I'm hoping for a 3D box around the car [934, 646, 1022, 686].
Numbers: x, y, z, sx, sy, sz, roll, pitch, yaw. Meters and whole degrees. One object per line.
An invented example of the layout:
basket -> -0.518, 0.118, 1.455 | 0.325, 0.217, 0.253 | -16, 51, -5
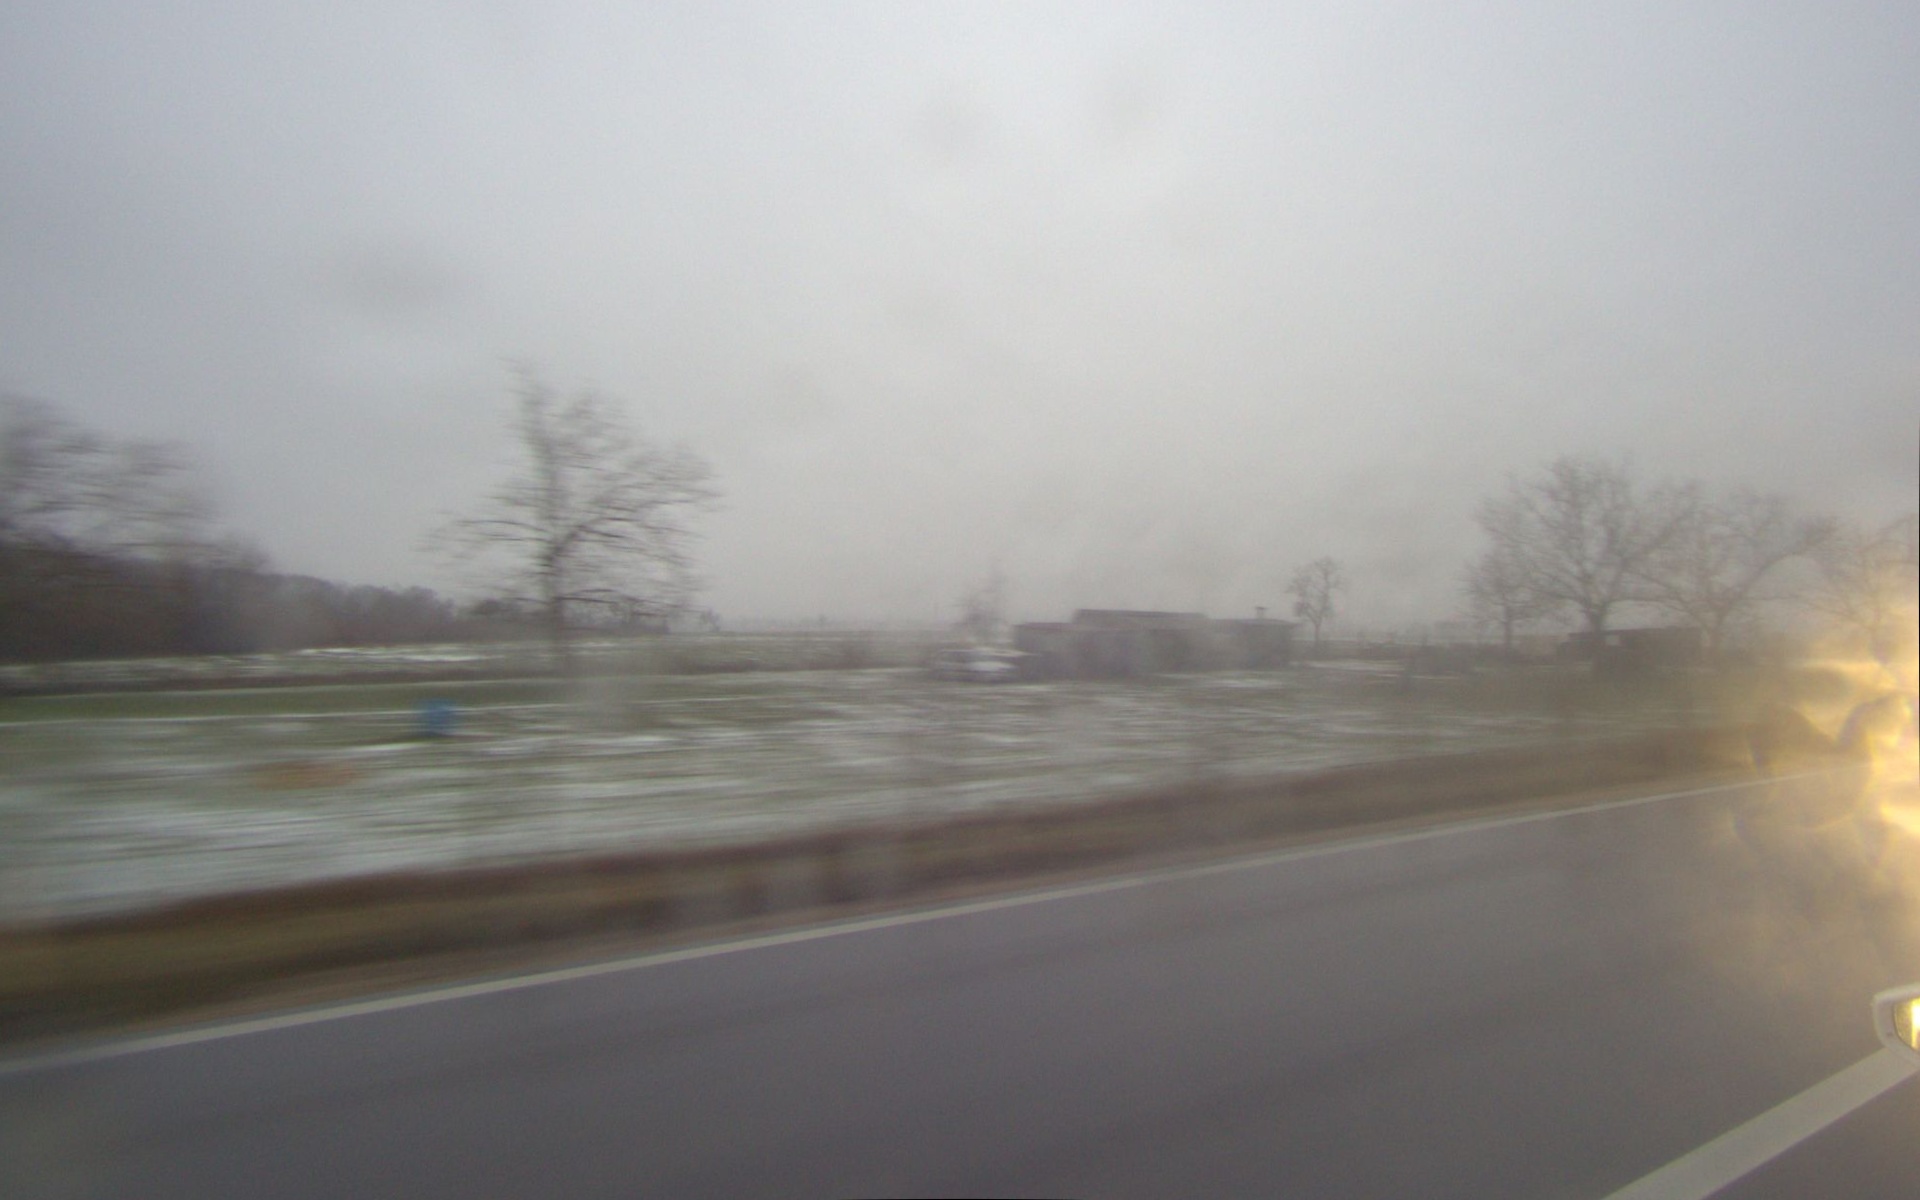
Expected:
car -> 0.681, 2.604, 40.258 | 1.588, 1.360, 3.407 | 2, 0, -43
